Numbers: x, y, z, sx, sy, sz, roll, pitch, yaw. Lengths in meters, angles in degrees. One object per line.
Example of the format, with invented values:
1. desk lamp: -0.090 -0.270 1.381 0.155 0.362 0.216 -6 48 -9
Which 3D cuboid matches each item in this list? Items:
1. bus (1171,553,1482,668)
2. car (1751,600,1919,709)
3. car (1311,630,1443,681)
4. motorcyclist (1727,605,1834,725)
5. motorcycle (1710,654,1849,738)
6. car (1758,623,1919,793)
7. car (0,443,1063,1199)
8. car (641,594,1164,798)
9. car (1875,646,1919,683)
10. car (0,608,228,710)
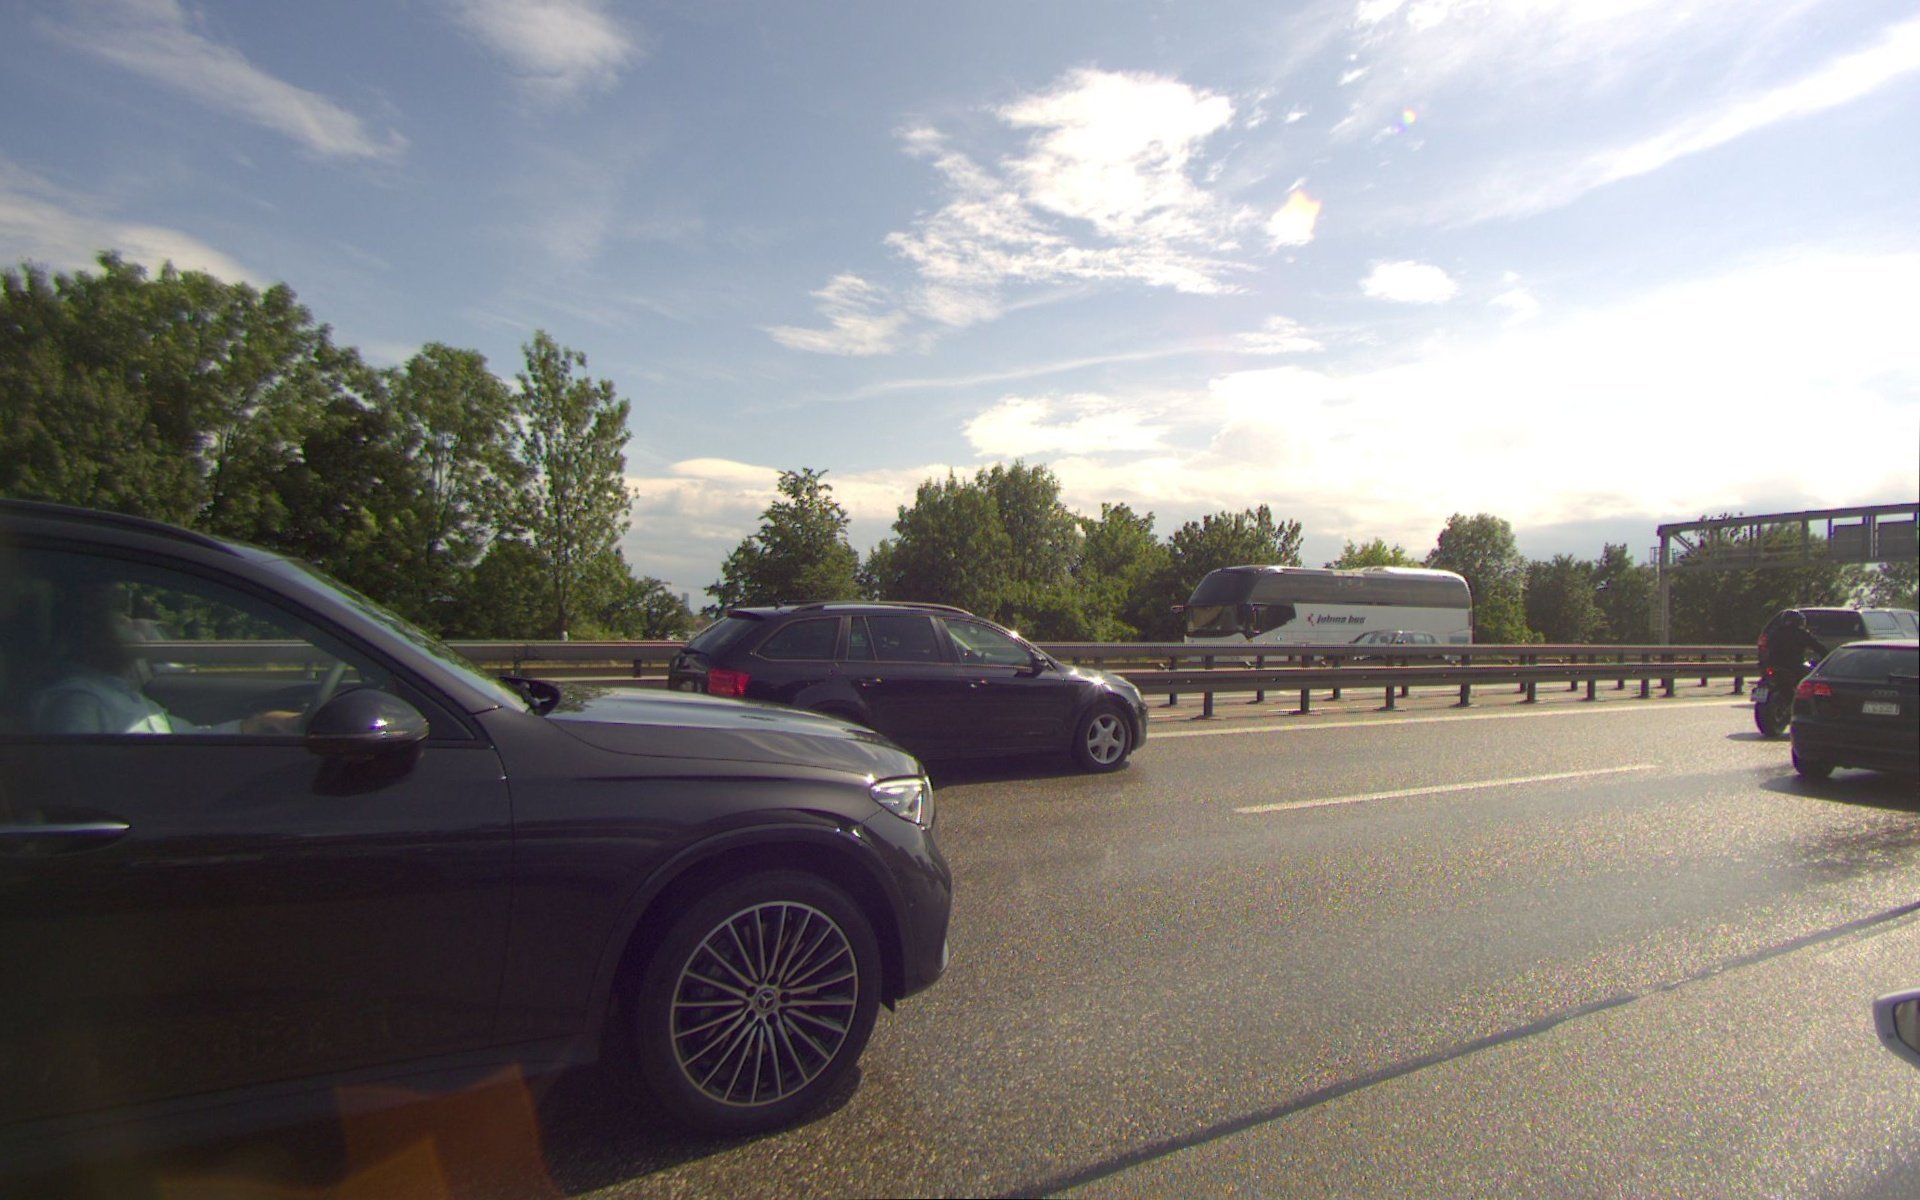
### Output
1. bus: 12.887 0.454 34.463 12.326 3.419 2.877 2 0 -31
2. car: 17.649 0.993 19.407 5.352 1.869 1.798 1 0 -29
3. car: 11.938 1.574 28.742 3.478 1.327 1.644 1 0 -28
4. motorcyclist: 11.242 0.862 13.766 1.080 1.558 0.792 1 0 -30
5. motorcycle: 11.271 1.279 13.788 2.360 1.041 0.687 1 0 -30
6. car: 9.913 0.992 9.998 4.006 1.452 1.742 1 0 -30
7. car: -2.123 0.551 2.843 4.571 1.701 1.868 1 0 -30
8. car: -0.446 0.727 9.058 4.322 1.444 1.910 2 0 -31
9. car: 40.851 2.725 42.738 3.954 1.461 1.767 2 0 -31
10. car: -15.256 0.981 17.382 3.952 1.613 1.724 1 0 -30
